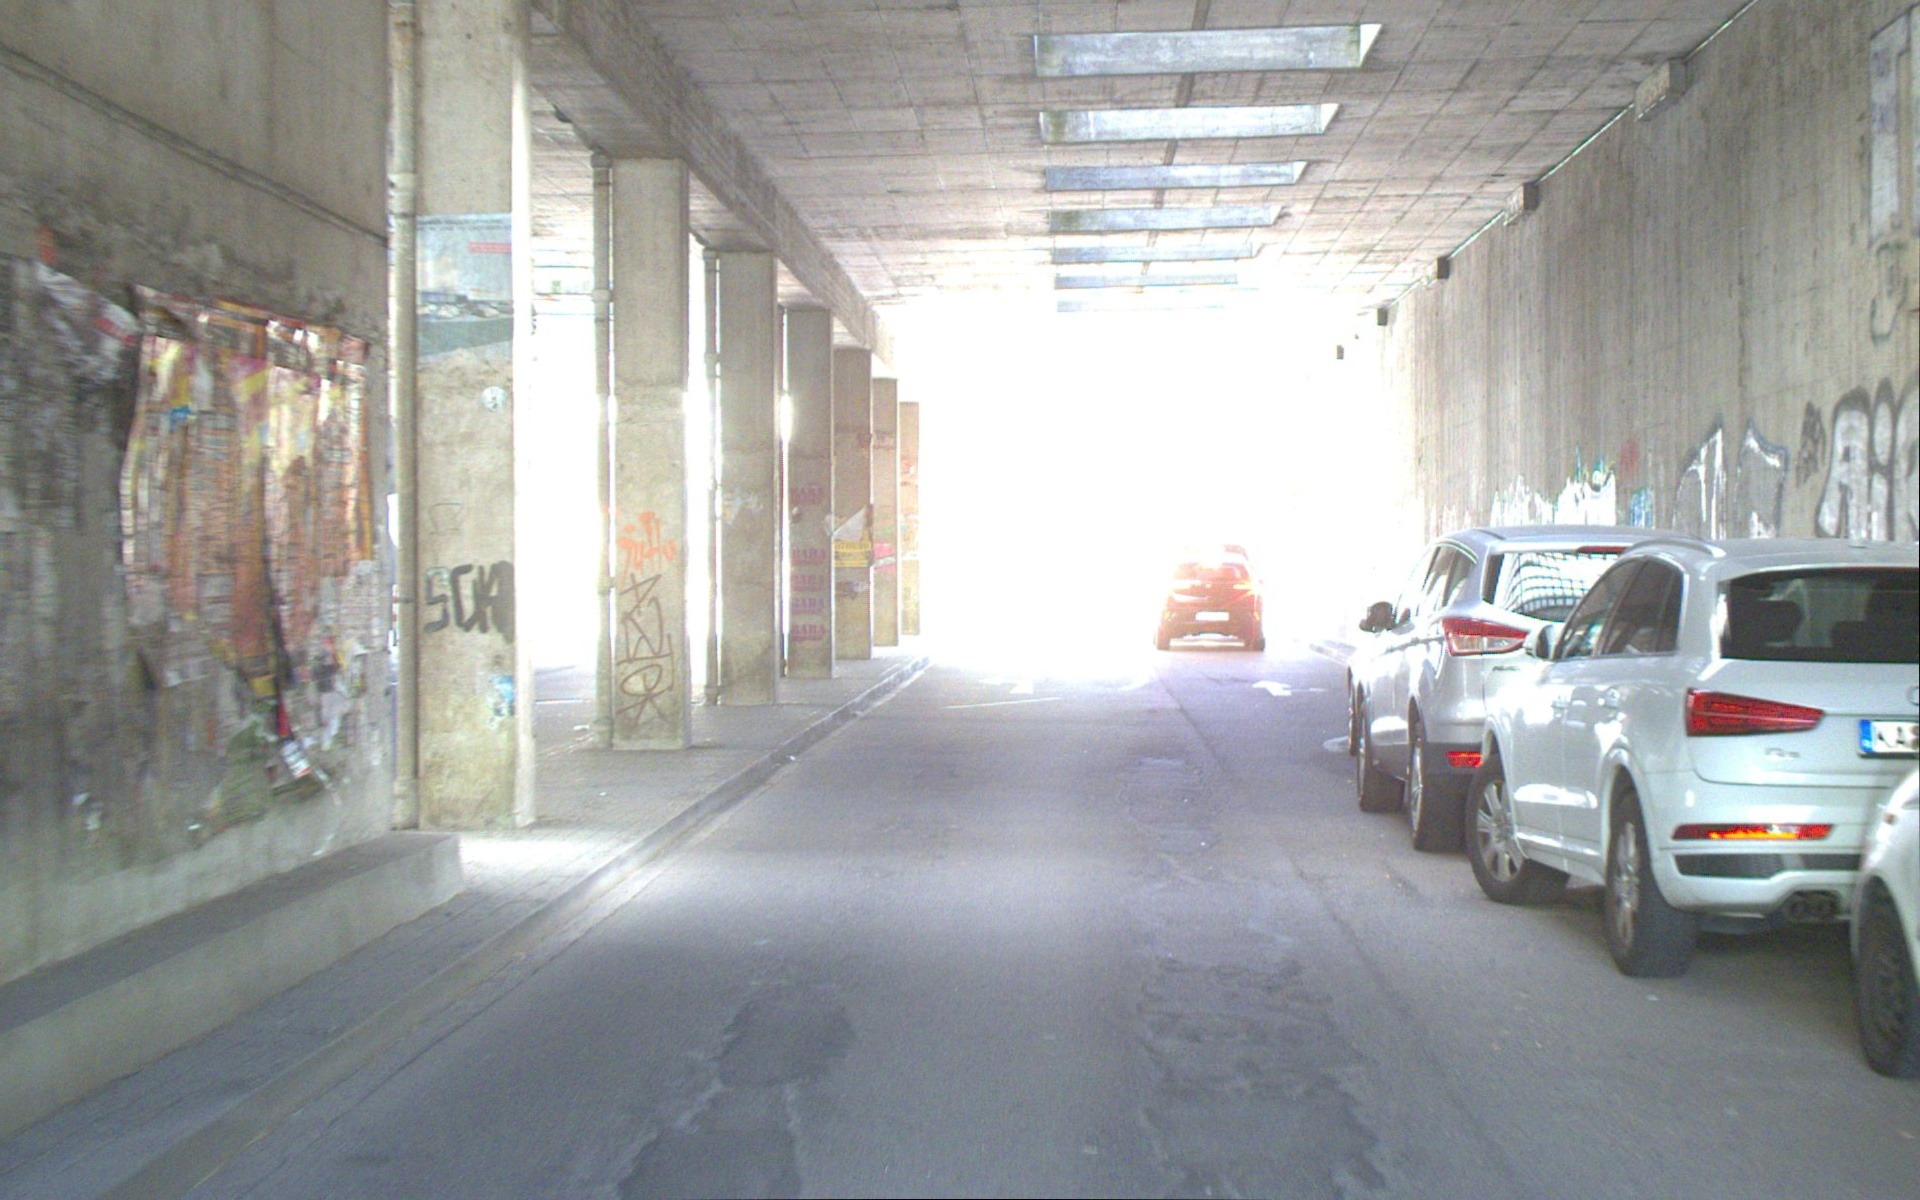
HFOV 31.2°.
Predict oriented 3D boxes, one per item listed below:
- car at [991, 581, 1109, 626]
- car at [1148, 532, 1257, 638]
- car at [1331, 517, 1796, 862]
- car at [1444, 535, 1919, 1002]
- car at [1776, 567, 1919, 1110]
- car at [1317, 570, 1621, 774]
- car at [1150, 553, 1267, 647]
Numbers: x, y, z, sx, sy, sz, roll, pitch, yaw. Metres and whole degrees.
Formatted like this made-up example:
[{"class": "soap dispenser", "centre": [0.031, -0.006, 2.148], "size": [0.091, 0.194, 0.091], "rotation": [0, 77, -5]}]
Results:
[{"class": "car", "centre": [3.162, 0.121, 120.005], "size": [3.988, 1.568, 1.639], "rotation": [0, 0, 6]}, {"class": "car", "centre": [4.440, -0.296, 63.403], "size": [1.815, 1.876, 4.585], "rotation": [-1, 1, 2]}, {"class": "car", "centre": [3.164, 0.390, 18.865], "size": [1.853, 1.660, 4.371], "rotation": [1, 1, 1]}, {"class": "car", "centre": [3.099, 0.549, 13.436], "size": [1.729, 1.541, 4.156], "rotation": [0, 0, -1]}, {"class": "car", "centre": [3.442, 0.651, 8.973], "size": [1.603, 1.482, 3.638], "rotation": [0, 0, -3]}, {"class": "car", "centre": [3.723, 0.477, 25.828], "size": [1.701, 1.370, 4.373], "rotation": [1, 1, 1]}, {"class": "car", "centre": [4.079, -0.032, 56.966], "size": [1.826, 1.496, 4.211], "rotation": [0, 1, 3]}]
